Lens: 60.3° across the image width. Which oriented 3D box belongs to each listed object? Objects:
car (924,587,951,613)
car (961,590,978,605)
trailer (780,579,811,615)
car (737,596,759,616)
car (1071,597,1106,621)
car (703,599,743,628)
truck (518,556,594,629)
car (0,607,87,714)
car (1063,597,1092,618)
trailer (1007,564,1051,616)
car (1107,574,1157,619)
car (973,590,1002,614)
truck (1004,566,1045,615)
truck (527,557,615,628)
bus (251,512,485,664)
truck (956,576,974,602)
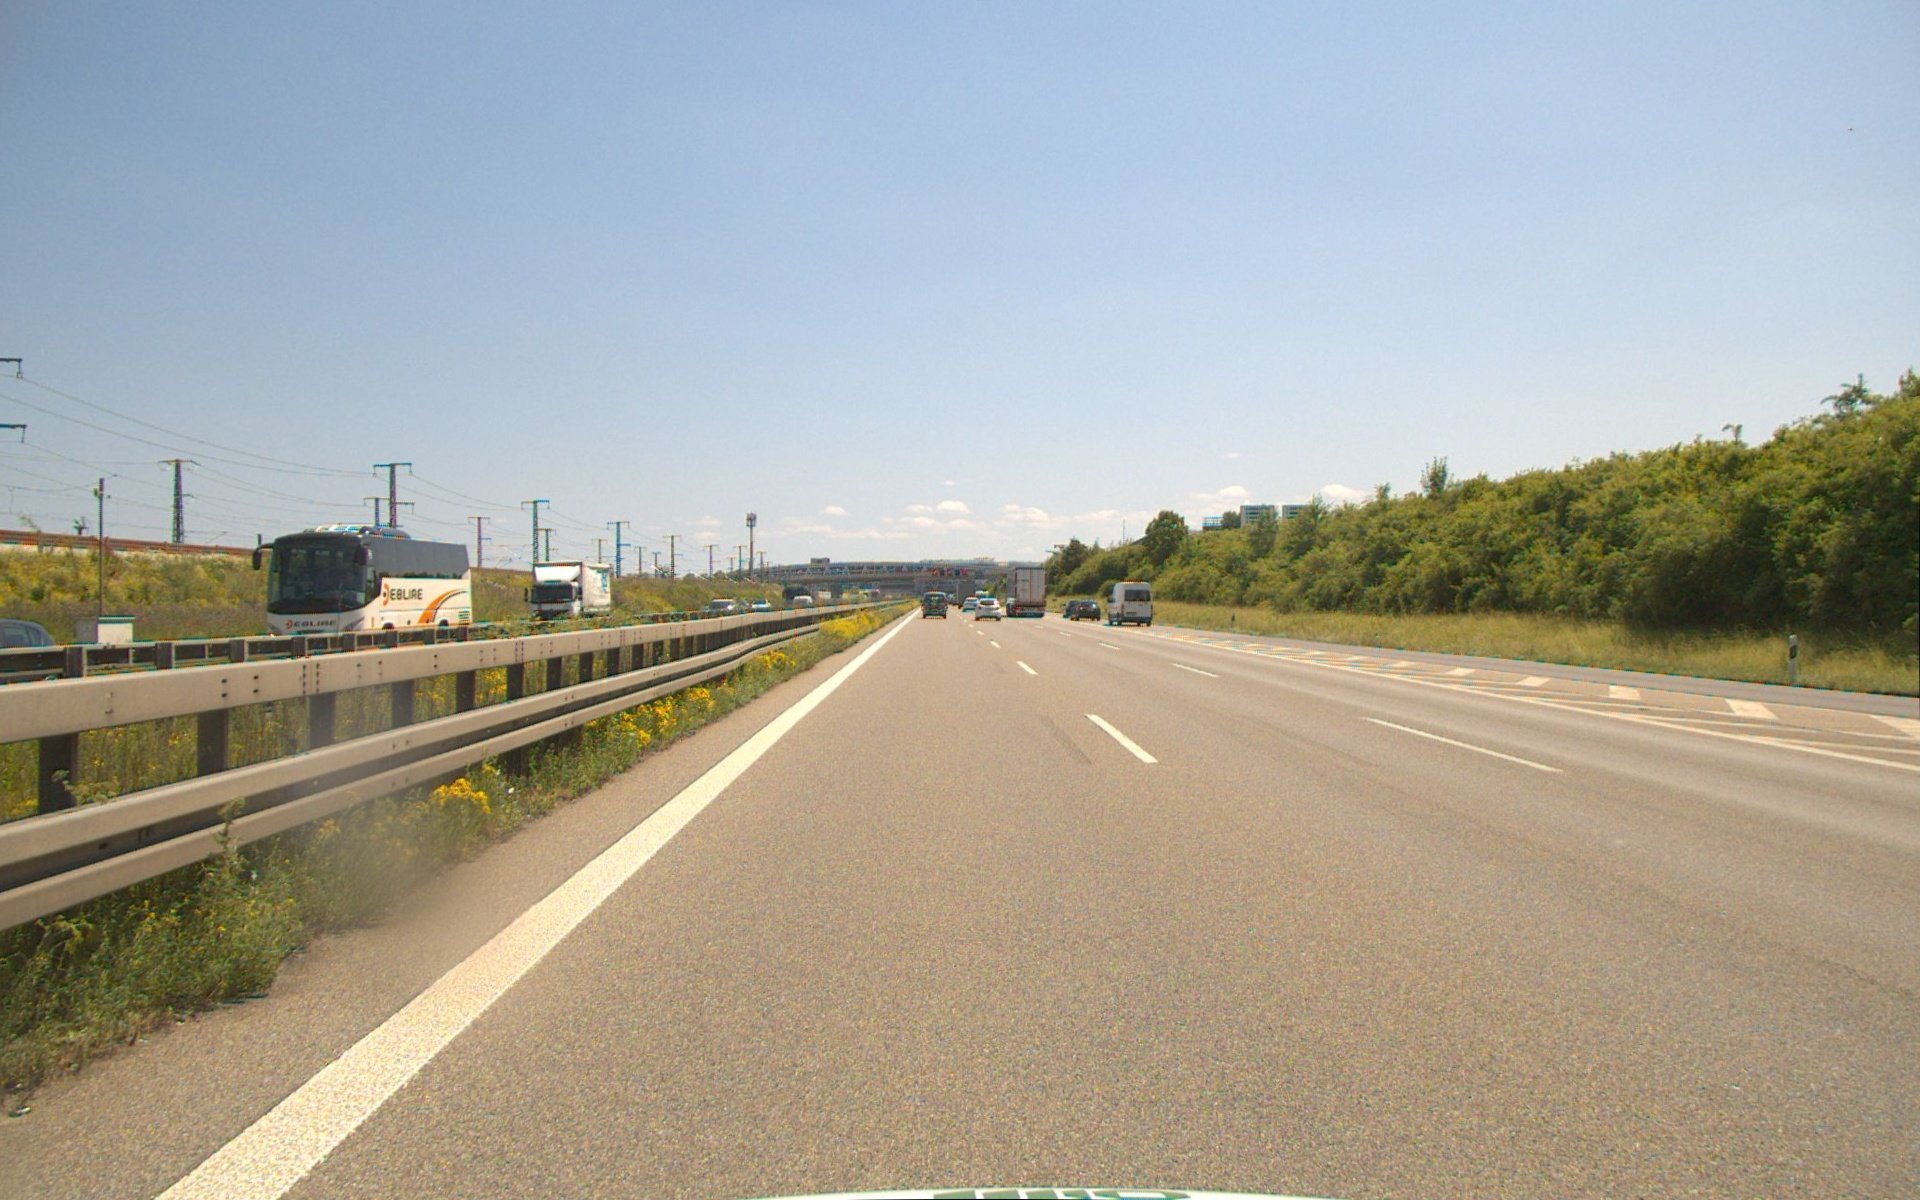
[{"bbox_3d":[-1.610,0.006,118.884,1.842,1.806,3.999,0,-1,-1],"label":"car"},{"bbox_3d":[1.020,-0.273,178.166,1.842,1.553,4.000,1,-1,0],"label":"car"},{"bbox_3d":[-18.803,-0.341,189.231,2.989,3.935,7.201,0,0,-1],"label":"trailer"},{"bbox_3d":[-23.601,0.670,184.318,1.953,2.049,4.493,-1,-1,-1],"label":"car"},{"bbox_3d":[9.145,0.658,117.787,1.954,1.534,3.997,2,-1,-3],"label":"car"},{"bbox_3d":[-14.264,0.803,99.679,1.881,1.639,3.999,-2,0,-1],"label":"car"},{"bbox_3d":[-20.473,-0.393,84.040,2.790,3.527,4.022,2,0,-1],"label":"truck"},{"bbox_3d":[-14.418,0.891,23.731,1.657,1.500,3.999,-2,0,-1],"label":"car"},{"bbox_3d":[9.695,0.610,136.490,1.953,1.624,3.998,2,-1,-1],"label":"car"},{"bbox_3d":[5.675,-0.813,137.474,3.113,4.130,9.438,0,0,-1],"label":"trailer"},{"bbox_3d":[10.321,-0.203,99.514,2.229,2.572,5.397,1,0,-2],"label":"car"},{"bbox_3d":[1.865,0.127,111.728,1.842,1.553,4.001,1,-1,2],"label":"car"},{"bbox_3d":[5.585,-0.789,144.913,3.113,4.130,9.438,0,0,-1],"label":"truck"},{"bbox_3d":[-20.519,-0.386,87.758,2.799,3.527,7.779,2,0,-1],"label":"truck"},{"bbox_3d":[-16.415,-0.315,46.973,2.799,3.709,10.938,2,0,-1],"label":"bus"},{"bbox_3d":[0.626,-1.448,223.008,2.307,3.476,6.056,1,0,-1],"label":"truck"}]
